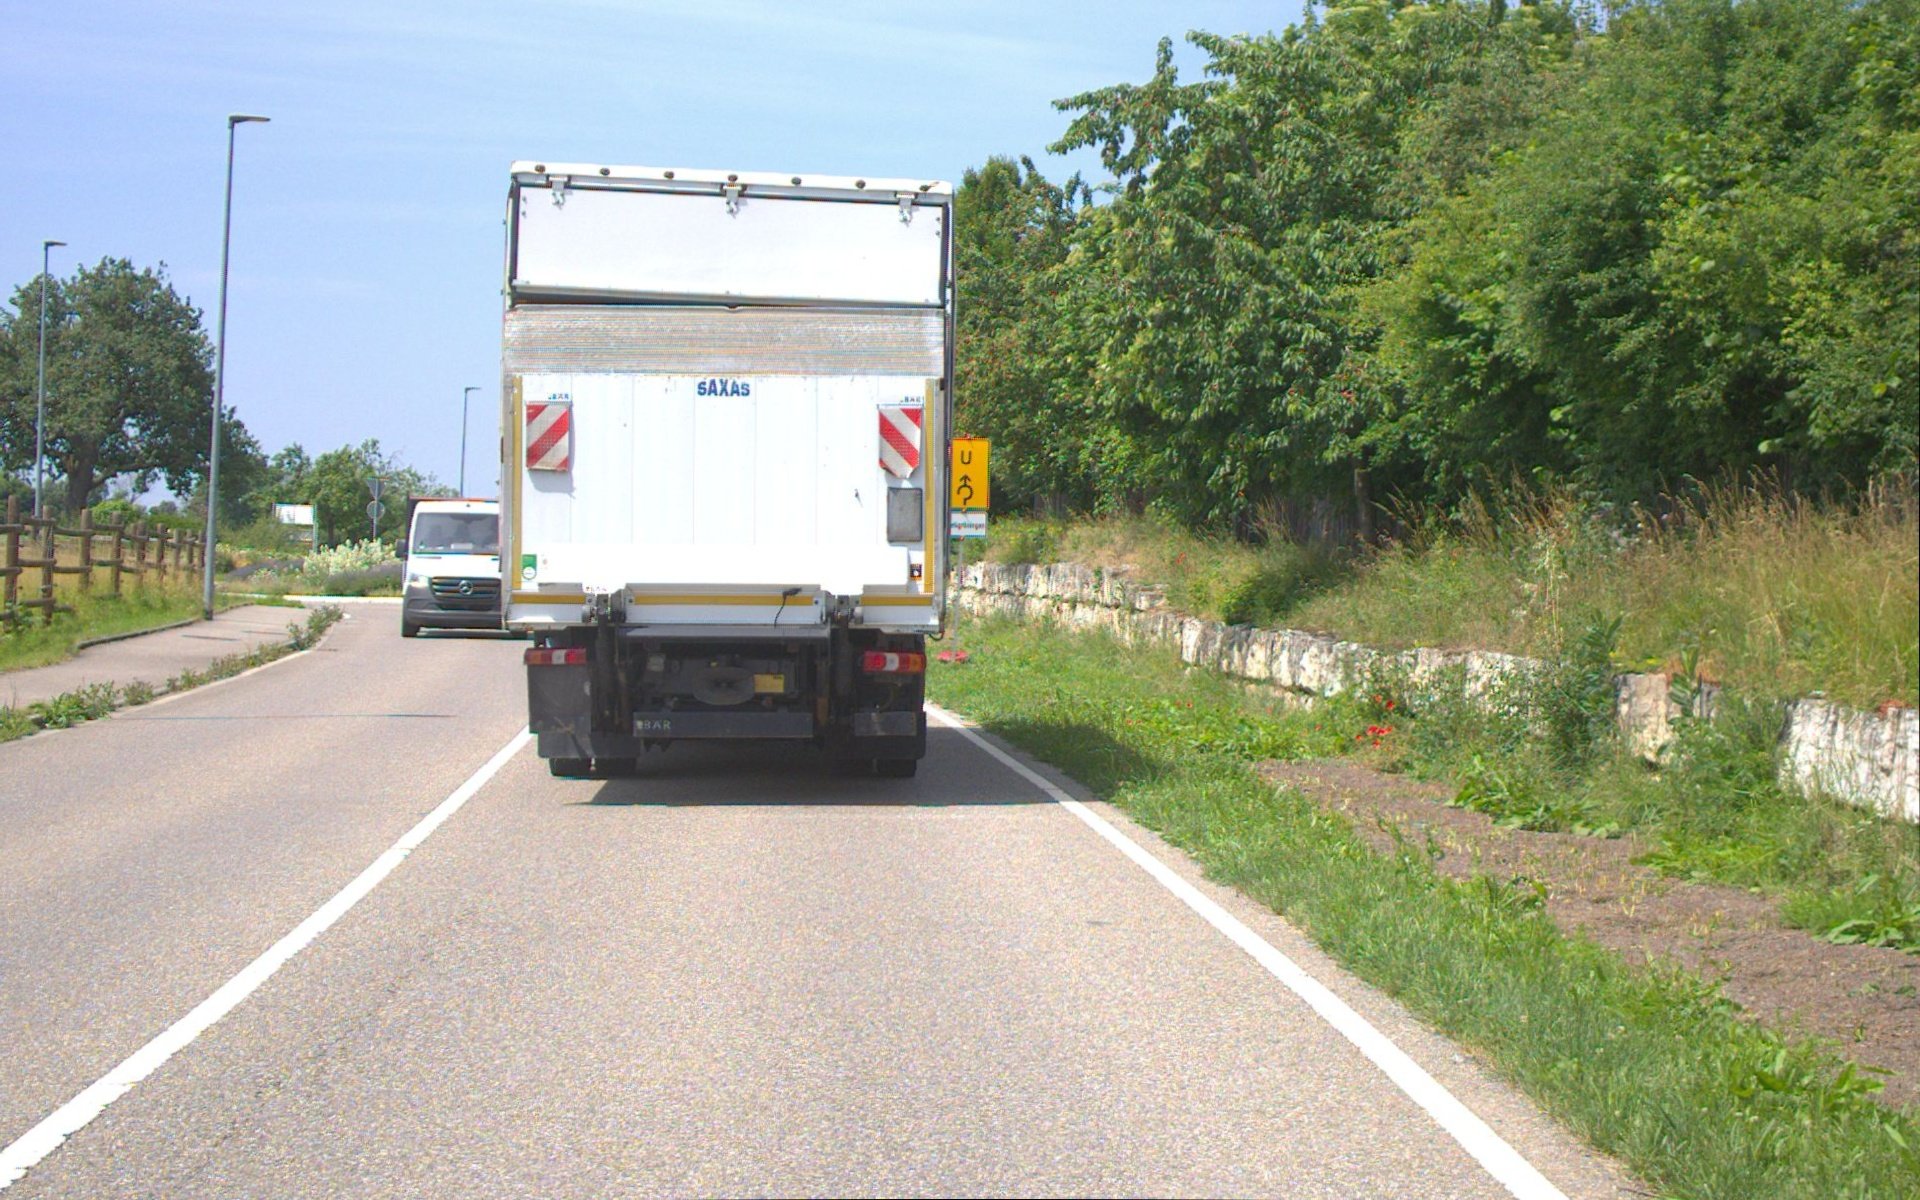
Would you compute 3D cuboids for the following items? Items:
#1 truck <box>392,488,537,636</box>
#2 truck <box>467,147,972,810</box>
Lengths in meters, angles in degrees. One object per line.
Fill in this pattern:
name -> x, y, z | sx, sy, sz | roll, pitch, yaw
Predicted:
truck -> -8.283, -0.641, 57.504 | 2.222, 2.285, 6.493 | 1, 1, -8
truck -> -1.494, -0.736, 23.858 | 2.766, 3.658, 9.383 | 1, 1, -2
